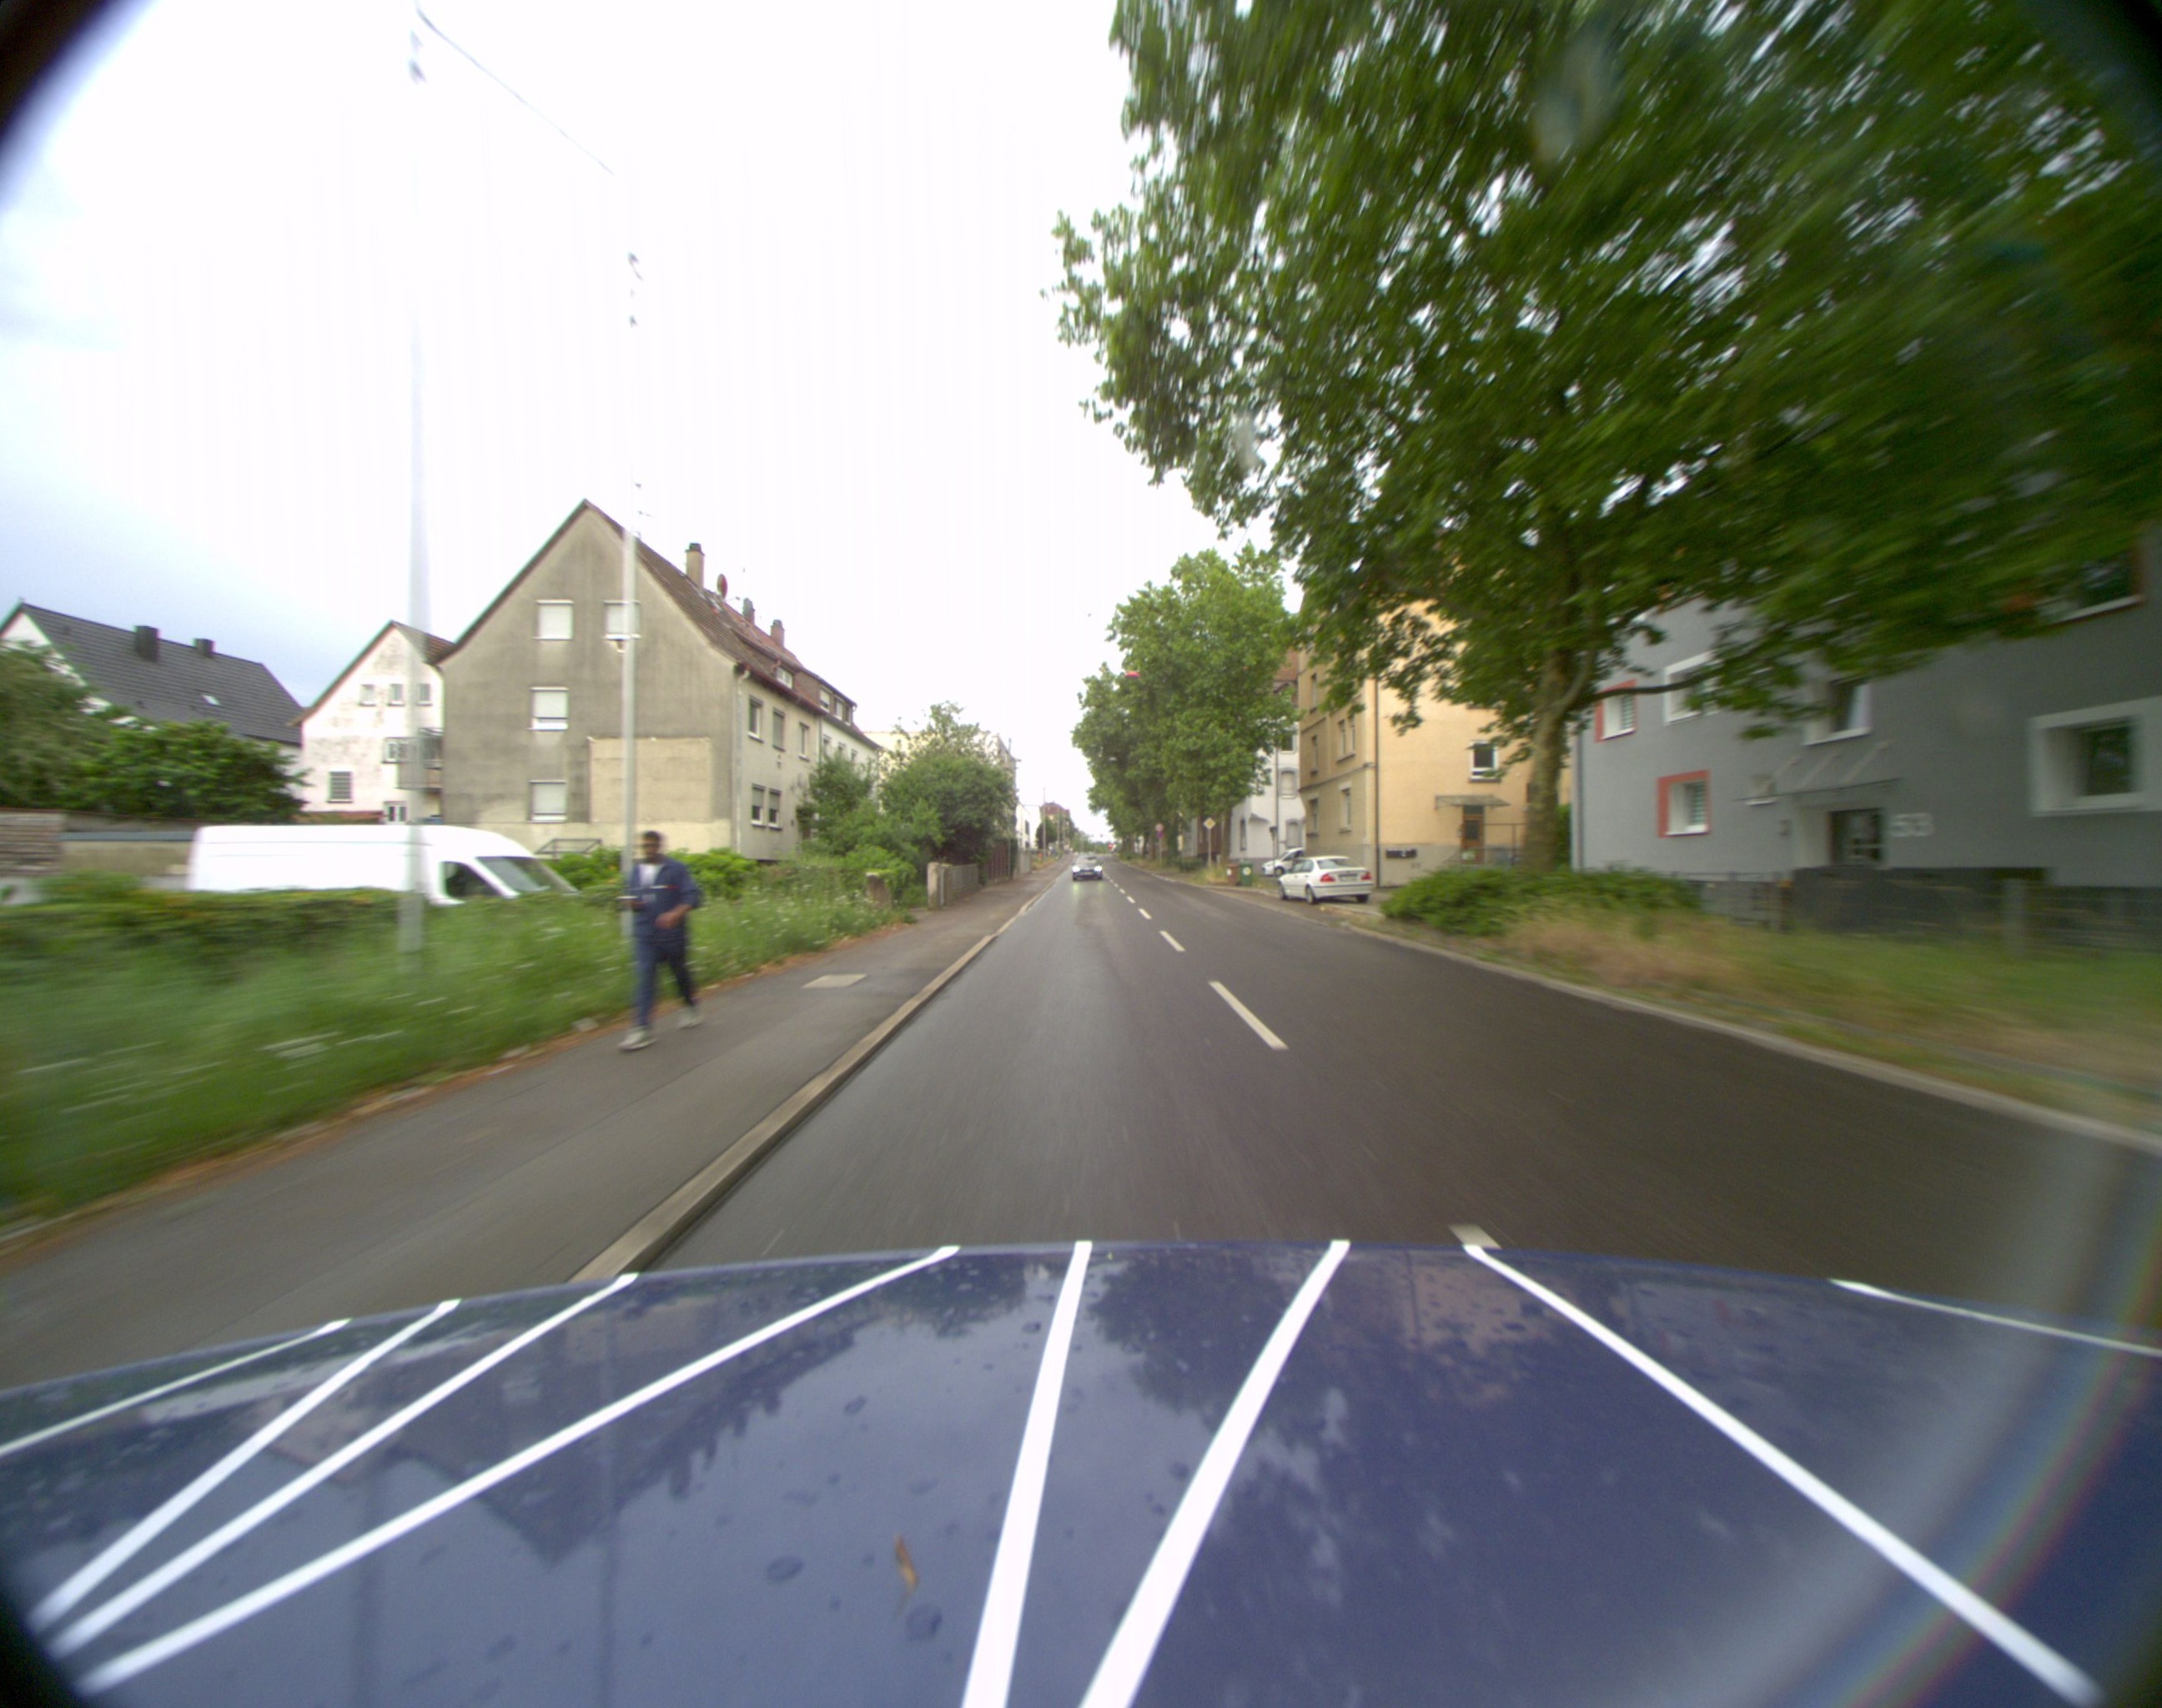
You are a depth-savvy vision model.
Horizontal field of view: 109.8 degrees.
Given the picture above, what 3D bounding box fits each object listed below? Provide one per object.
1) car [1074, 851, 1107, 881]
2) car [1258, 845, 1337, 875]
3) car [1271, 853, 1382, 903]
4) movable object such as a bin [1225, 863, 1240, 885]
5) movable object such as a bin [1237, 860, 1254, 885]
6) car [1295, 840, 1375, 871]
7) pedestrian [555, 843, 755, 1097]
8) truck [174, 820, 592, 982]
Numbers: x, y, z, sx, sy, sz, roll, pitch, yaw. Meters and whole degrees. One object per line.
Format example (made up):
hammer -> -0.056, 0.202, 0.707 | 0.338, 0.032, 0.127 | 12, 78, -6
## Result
car -> 0.534, 0.714, 46.823 | 1.949, 1.644, 3.857 | -1, 2, -1
car -> 14.471, 0.368, 50.926 | 4.682, 1.768, 2.020 | -2, 1, 0
car -> 7.460, 0.659, 23.593 | 1.760, 1.318, 4.537 | -2, 1, -3
movable object such as a bin -> 6.466, 0.845, 32.435 | 0.513, 0.922, 0.581 | 0, 2, 0
movable object such as a bin -> 7.029, 0.787, 32.495 | 0.536, 1.051, 0.762 | 0, 2, 0
car -> 14.855, 0.068, 44.648 | 4.123, 1.602, 2.044 | -2, 1, 7
pedestrian -> -3.361, 0.863, 6.109 | 1.045, 1.886, 0.900 | -1, 2, 0
truck -> -12.932, 0.812, 14.406 | 5.859, 2.622, 2.043 | -2, 2, 0
